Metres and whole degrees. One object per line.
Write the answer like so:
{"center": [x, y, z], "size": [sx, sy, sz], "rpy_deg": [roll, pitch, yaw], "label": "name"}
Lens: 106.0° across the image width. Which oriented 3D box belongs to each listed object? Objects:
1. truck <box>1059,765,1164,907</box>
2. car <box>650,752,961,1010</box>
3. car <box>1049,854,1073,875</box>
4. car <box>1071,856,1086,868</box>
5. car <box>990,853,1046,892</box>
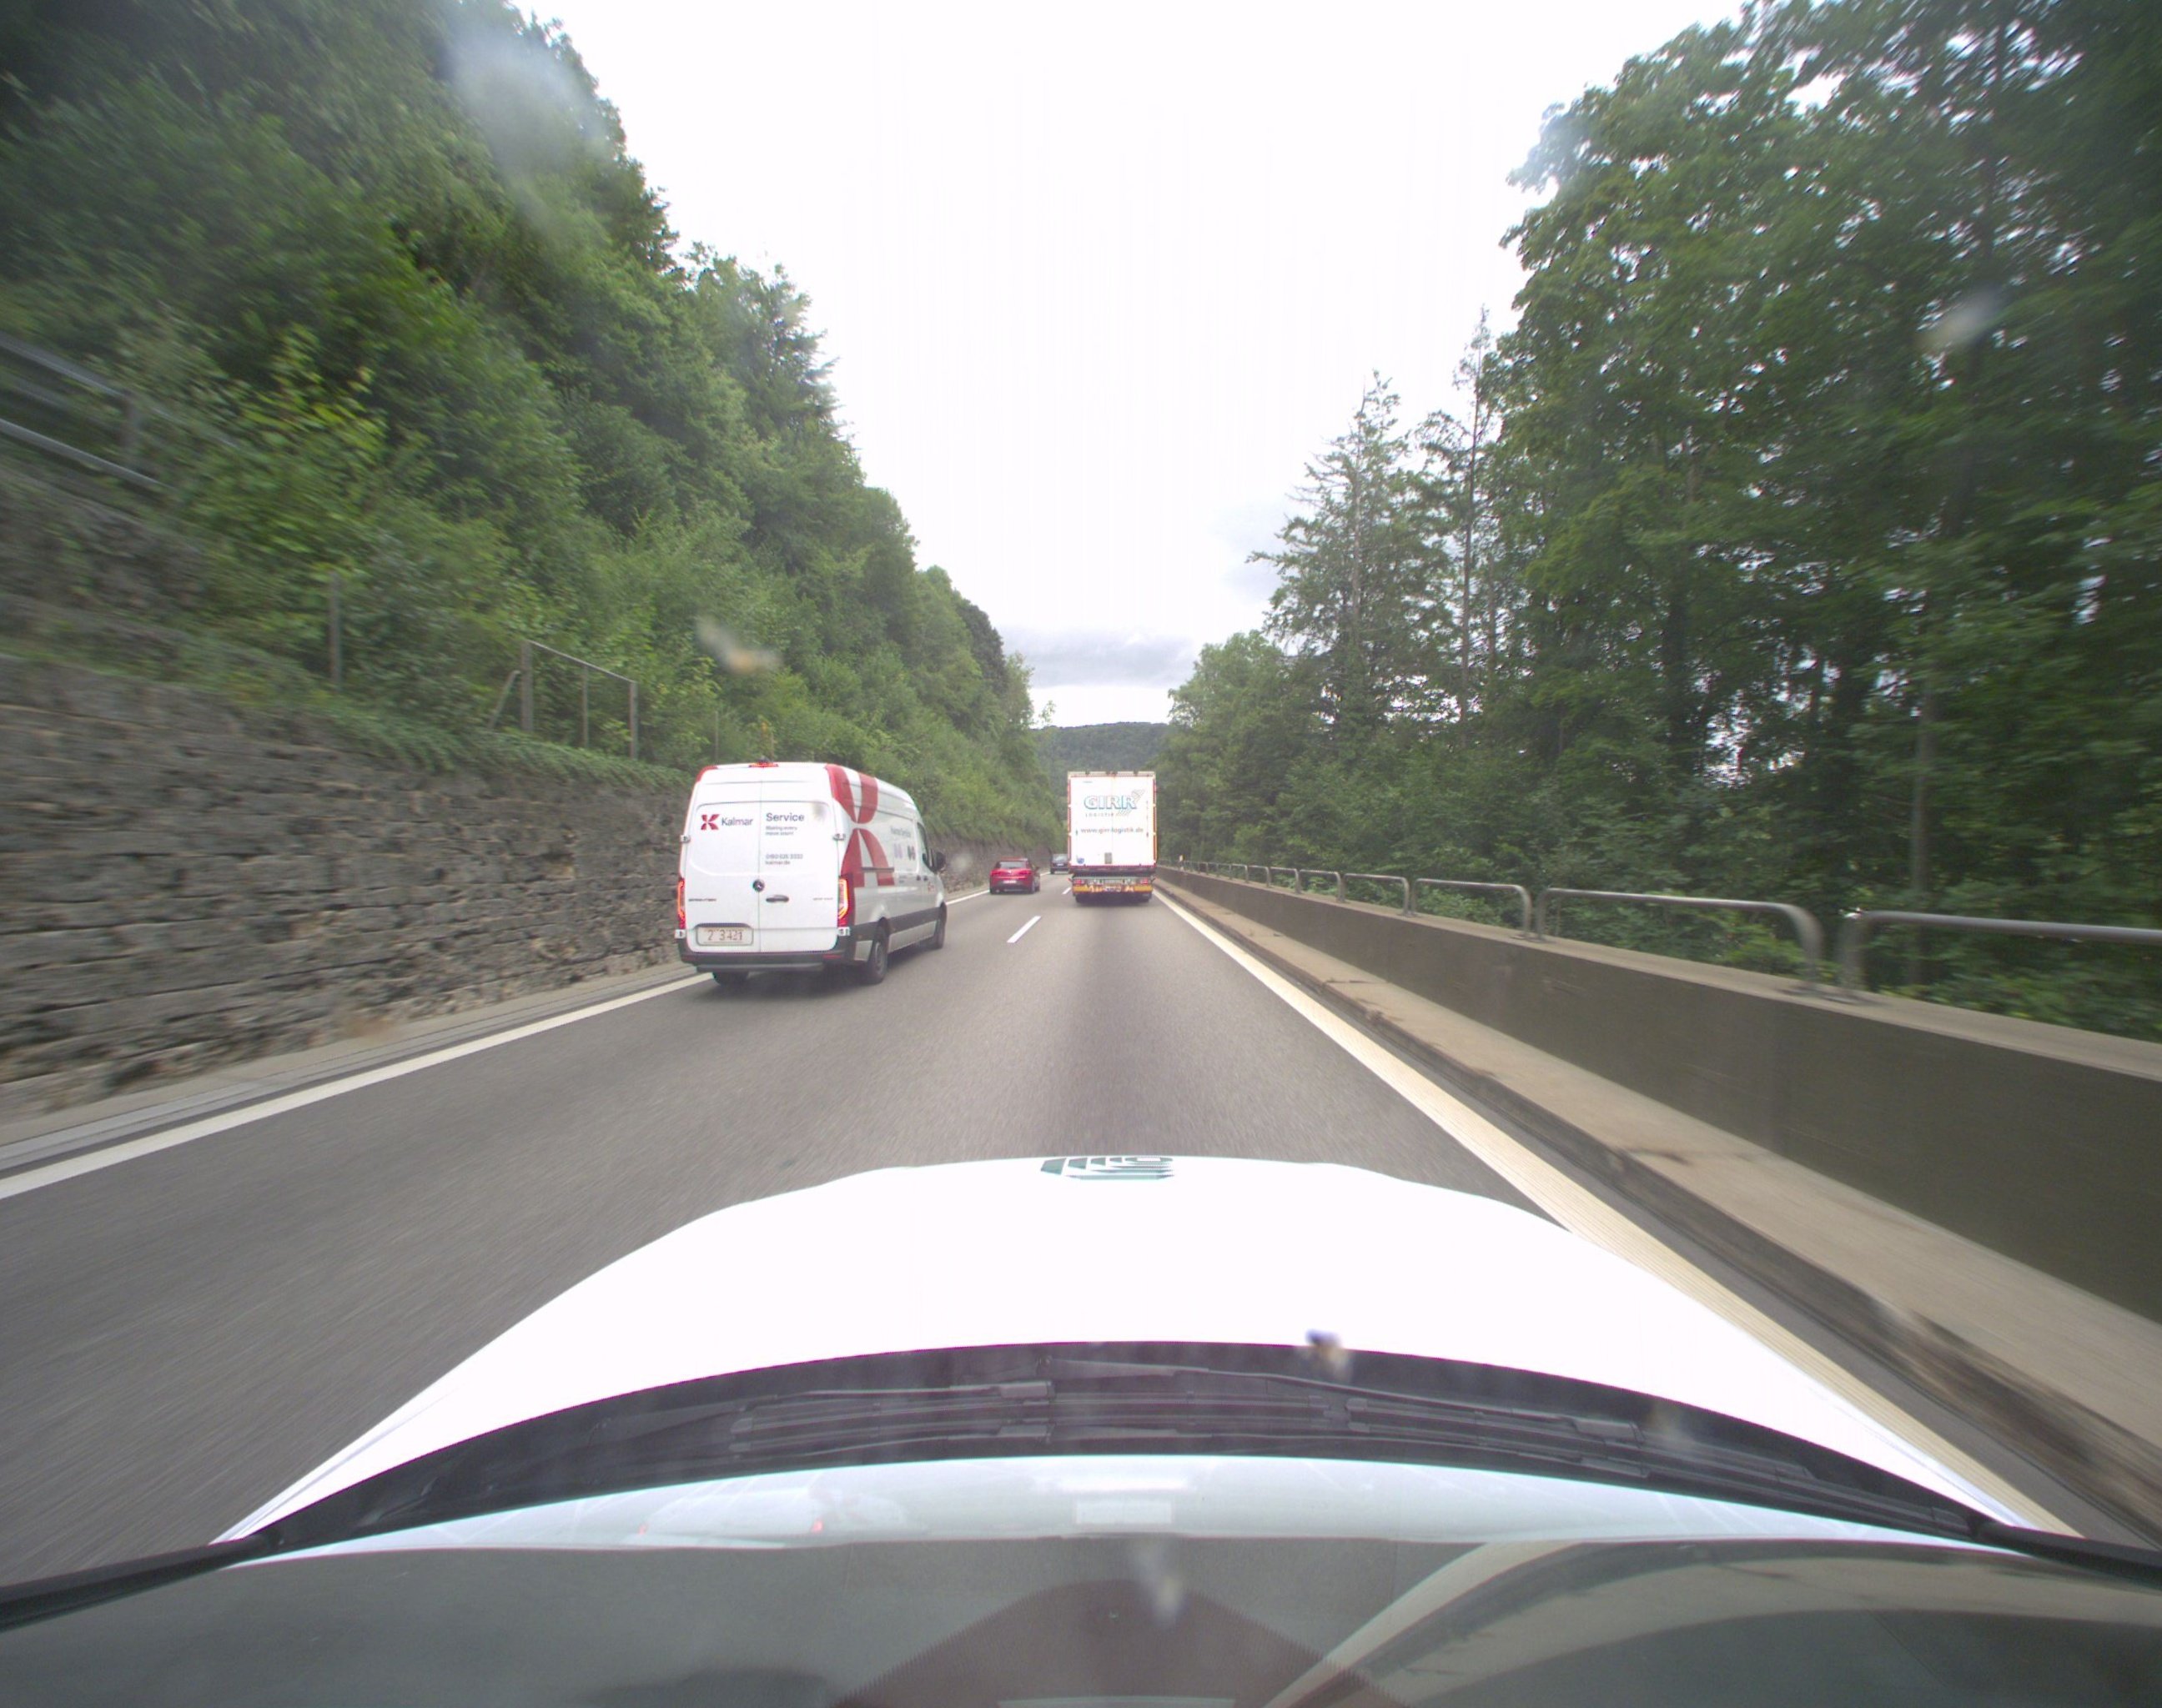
{"center": [1.087, -0.476, 27.779], "size": [2.897, 3.960, 9.285], "rpy_deg": [-1, 0, 3], "label": "truck"}
{"center": [-3.287, 0.303, 11.463], "size": [2.018, 2.585, 6.276], "rpy_deg": [-2, -1, 2], "label": "car"}
{"center": [-1.635, 0.830, 66.742], "size": [1.662, 1.639, 4.070], "rpy_deg": [-2, -1, 2], "label": "car"}
{"center": [-0.347, 1.021, 104.948], "size": [1.722, 1.486, 4.002], "rpy_deg": [-2, -1, 2], "label": "car"}
{"center": [-2.521, 0.729, 33.608], "size": [1.759, 1.460, 4.414], "rpy_deg": [-2, -1, 2], "label": "car"}
